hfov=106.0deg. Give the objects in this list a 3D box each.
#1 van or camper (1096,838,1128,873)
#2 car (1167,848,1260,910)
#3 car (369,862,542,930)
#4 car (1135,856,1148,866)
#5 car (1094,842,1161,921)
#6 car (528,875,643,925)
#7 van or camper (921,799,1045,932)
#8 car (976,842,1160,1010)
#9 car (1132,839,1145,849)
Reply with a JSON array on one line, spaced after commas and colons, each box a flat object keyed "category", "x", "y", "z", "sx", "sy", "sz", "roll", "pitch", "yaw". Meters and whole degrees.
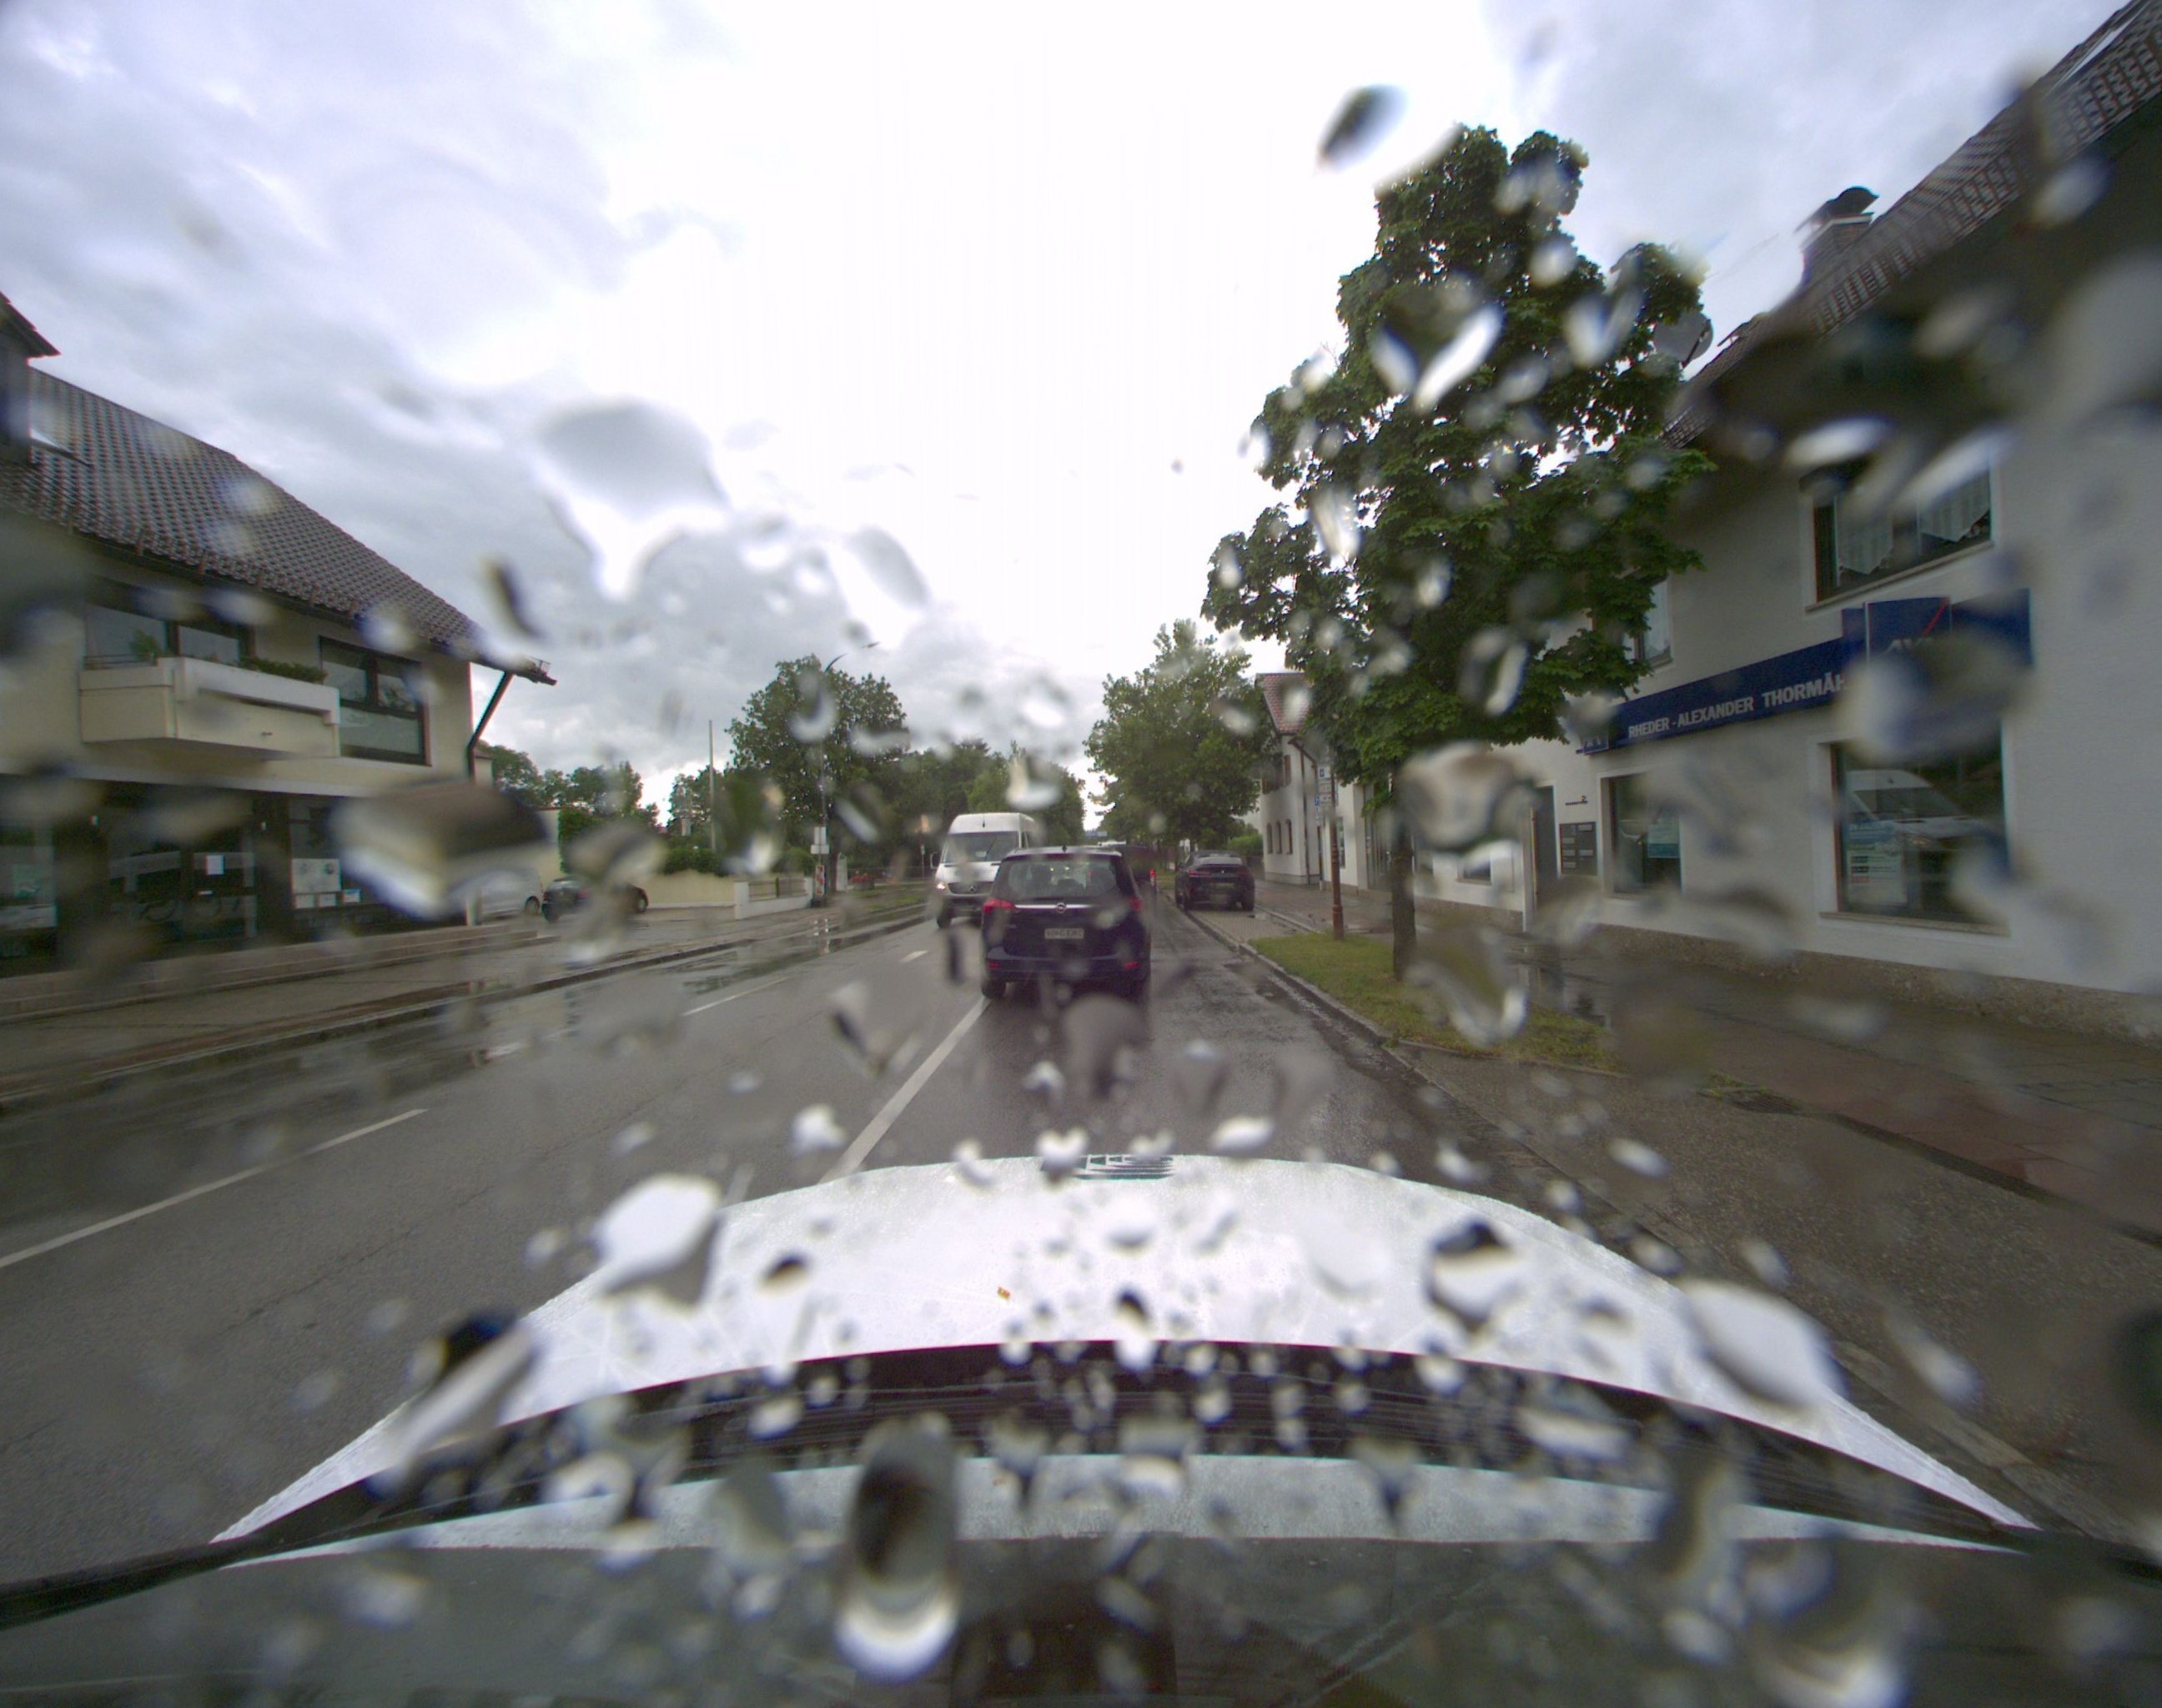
[{"category": "van or camper", "x": 2.554, "y": 0.139, "z": 66.827, "sx": 2.351, "sy": 2.665, "sz": 5.374, "roll": -3, "pitch": 0, "yaw": 2}, {"category": "car", "x": 3.658, "y": 0.670, "z": 23.250, "sx": 2.110, "sy": 1.581, "sz": 3.937, "roll": -1, "pitch": -1, "yaw": 1}, {"category": "car", "x": -20.831, "y": 1.312, "z": 27.436, "sx": 1.957, "sy": 1.919, "sz": 4.738, "roll": -4, "pitch": 0, "yaw": 1}, {"category": "car", "x": 8.226, "y": 0.944, "z": 111.731, "sx": 1.624, "sy": 1.378, "sz": 3.624, "roll": -1, "pitch": -1, "yaw": 2}, {"category": "car", "x": 1.114, "y": 0.638, "z": 20.083, "sx": 1.494, "sy": 1.776, "sz": 3.113, "roll": -1, "pitch": 0, "yaw": 2}, {"category": "car", "x": -16.327, "y": 1.462, "z": 27.030, "sx": 1.602, "sy": 1.380, "sz": 3.508, "roll": -4, "pitch": 0, "yaw": 0}, {"category": "van or camper", "x": -2.200, "y": 0.250, "z": 20.272, "sx": 2.086, "sy": 2.707, "sz": 6.270, "roll": -2, "pitch": 0, "yaw": 1}, {"category": "car", "x": -0.057, "y": 0.703, "z": 9.706, "sx": 1.762, "sy": 1.604, "sz": 3.665, "roll": -1, "pitch": 0, "yaw": 2}, {"category": "car", "x": 8.548, "y": -1.453, "z": 121.244, "sx": 1.624, "sy": 1.378, "sz": 3.624, "roll": -3, "pitch": -1, "yaw": 2}]
